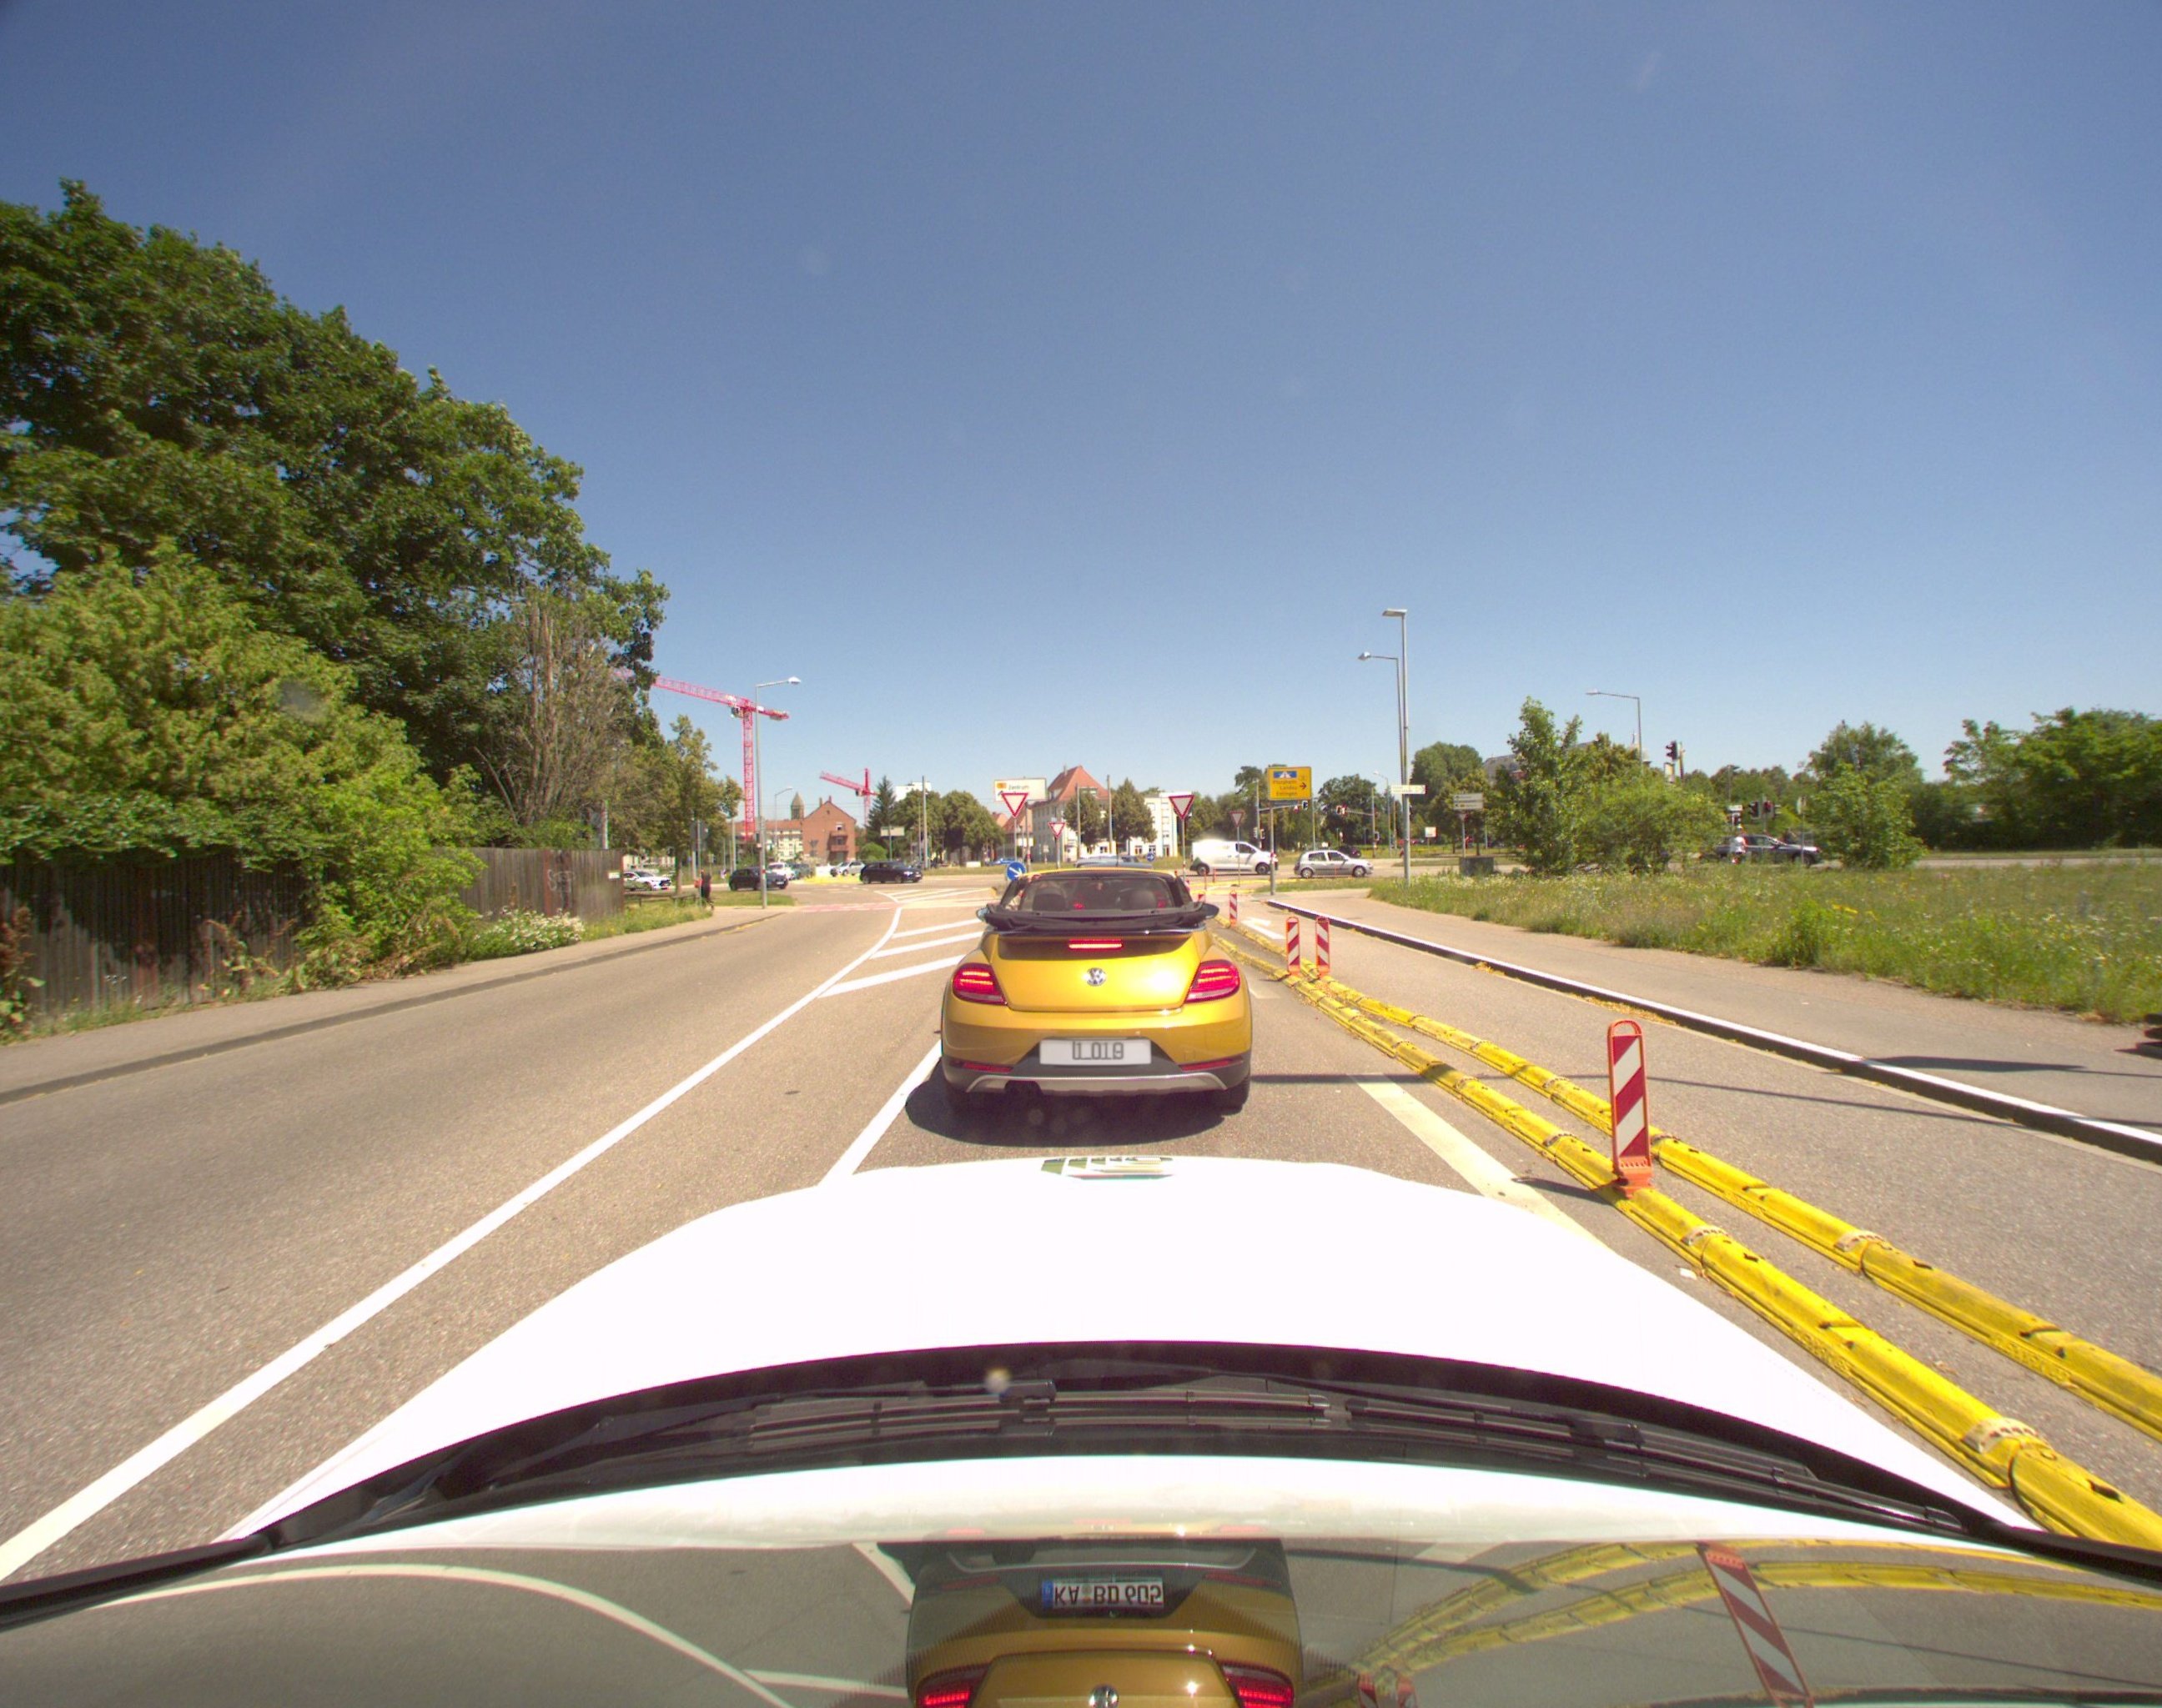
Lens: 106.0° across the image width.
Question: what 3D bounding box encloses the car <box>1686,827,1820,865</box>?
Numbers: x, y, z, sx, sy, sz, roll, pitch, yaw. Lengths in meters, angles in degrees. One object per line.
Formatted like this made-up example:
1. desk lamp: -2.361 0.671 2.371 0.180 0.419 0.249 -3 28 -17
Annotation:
1. car: 30.653 -0.323 37.361 4.391 1.596 2.012 -1 0 27

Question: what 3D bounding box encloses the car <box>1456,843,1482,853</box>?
1. car: 71.845 -1.087 150.900 3.993 1.714 1.990 -1 0 -15

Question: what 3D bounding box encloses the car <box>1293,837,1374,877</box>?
1. car: 12.408 0.158 40.195 3.641 1.850 1.638 -1 0 12

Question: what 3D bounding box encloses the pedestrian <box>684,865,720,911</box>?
1. pedestrian: -13.282 1.189 28.545 0.865 1.563 0.816 -1 -1 37

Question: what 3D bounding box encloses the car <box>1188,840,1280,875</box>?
1. car: 8.583 0.194 45.734 4.939 1.850 2.006 -1 0 10

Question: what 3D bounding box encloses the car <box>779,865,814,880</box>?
1. car: -25.025 1.600 71.820 1.701 1.236 3.786 -1 0 0

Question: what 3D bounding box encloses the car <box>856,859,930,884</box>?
1. car: -11.772 1.096 50.976 4.149 1.442 2.011 -1 0 24

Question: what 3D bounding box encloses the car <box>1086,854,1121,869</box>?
1. car: 2.982 1.025 107.855 4.655 1.828 2.000 -1 0 0

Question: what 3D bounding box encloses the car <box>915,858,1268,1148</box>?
1. car: 0.103 0.755 5.974 1.746 1.422 3.778 -1 0 1

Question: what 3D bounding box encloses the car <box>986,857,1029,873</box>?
1. car: -9.395 1.357 104.003 4.943 1.786 2.008 -3 0 -27

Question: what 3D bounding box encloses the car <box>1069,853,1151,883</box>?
1. car: 1.517 0.724 41.791 3.983 1.444 1.637 -1 0 10

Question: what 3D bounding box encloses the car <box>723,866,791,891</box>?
1. car: -19.955 1.519 50.117 4.164 1.442 2.013 -1 0 38

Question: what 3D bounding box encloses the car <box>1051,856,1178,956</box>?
1. car: 0.563 0.773 13.983 1.841 1.442 4.002 -1 0 2

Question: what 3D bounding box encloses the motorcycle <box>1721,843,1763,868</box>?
1. motorcycle: 25.863 0.059 31.857 1.712 0.970 0.625 -1 -1 -28

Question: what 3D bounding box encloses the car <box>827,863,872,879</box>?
1. car: -23.090 1.647 81.330 1.690 1.500 4.247 -1 0 34

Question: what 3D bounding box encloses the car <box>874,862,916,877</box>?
1. car: -22.006 1.812 96.570 4.431 1.569 2.007 -3 0 -29

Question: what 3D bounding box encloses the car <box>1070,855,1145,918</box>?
1. car: 0.684 0.771 21.081 1.730 1.442 4.002 -1 0 2

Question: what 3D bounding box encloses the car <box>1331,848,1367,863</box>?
1. car: 32.116 0.225 97.673 1.948 1.672 4.175 -3 0 -18

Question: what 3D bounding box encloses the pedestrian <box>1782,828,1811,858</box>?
1. pedestrian: 37.881 -0.579 43.127 0.789 1.563 0.823 -1 -1 3

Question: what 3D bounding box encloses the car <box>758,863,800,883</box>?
1. car: -24.614 1.502 66.525 1.749 1.549 4.002 -1 0 2

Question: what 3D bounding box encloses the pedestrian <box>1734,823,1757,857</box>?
1. pedestrian: 36.448 -0.758 44.657 0.647 1.870 0.737 -1 -1 3

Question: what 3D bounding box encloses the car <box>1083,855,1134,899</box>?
1. car: 1.000 0.789 29.951 1.730 1.477 4.002 -1 0 2

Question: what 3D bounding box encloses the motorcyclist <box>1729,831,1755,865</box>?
1. motorcyclist: 25.883 -0.229 31.904 0.616 1.289 0.576 -1 -1 -27
